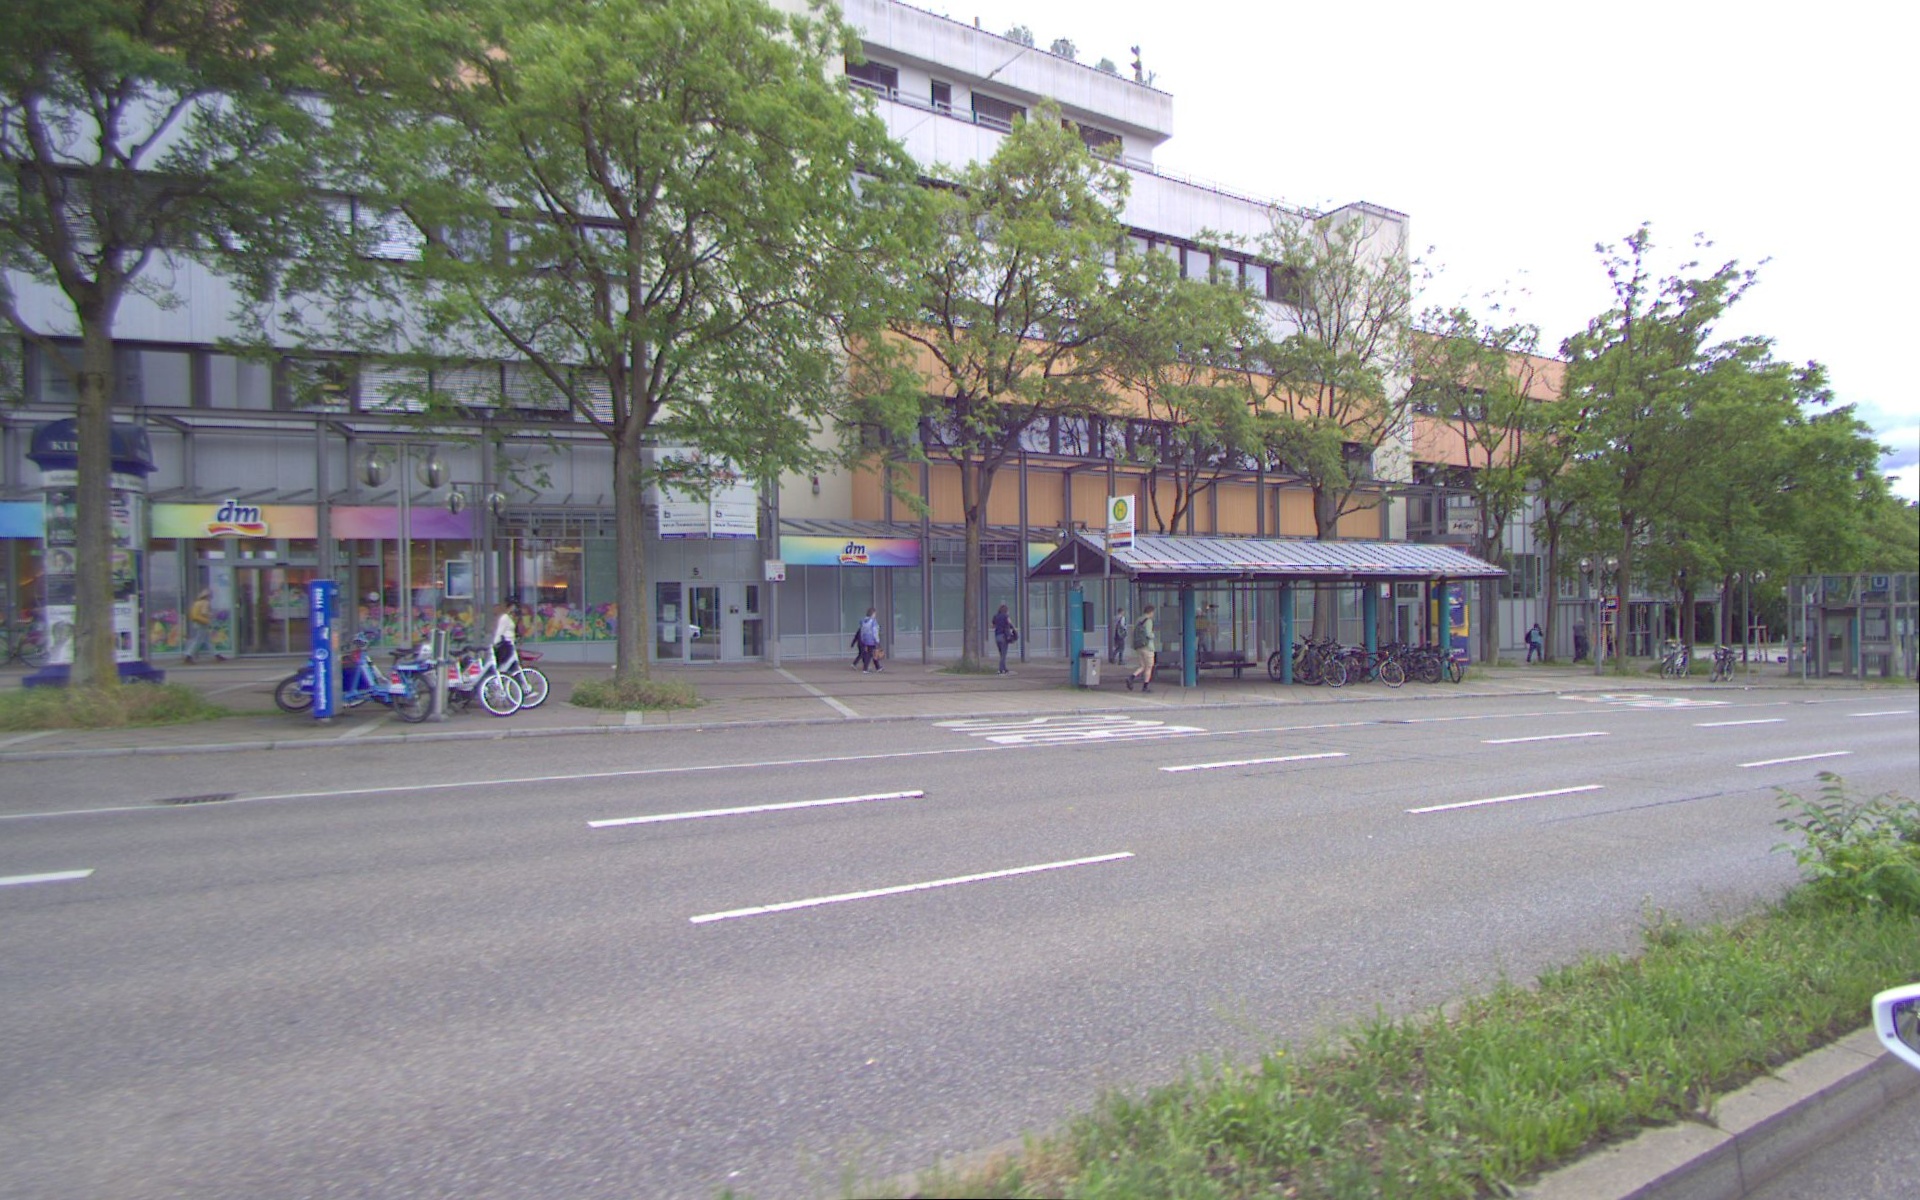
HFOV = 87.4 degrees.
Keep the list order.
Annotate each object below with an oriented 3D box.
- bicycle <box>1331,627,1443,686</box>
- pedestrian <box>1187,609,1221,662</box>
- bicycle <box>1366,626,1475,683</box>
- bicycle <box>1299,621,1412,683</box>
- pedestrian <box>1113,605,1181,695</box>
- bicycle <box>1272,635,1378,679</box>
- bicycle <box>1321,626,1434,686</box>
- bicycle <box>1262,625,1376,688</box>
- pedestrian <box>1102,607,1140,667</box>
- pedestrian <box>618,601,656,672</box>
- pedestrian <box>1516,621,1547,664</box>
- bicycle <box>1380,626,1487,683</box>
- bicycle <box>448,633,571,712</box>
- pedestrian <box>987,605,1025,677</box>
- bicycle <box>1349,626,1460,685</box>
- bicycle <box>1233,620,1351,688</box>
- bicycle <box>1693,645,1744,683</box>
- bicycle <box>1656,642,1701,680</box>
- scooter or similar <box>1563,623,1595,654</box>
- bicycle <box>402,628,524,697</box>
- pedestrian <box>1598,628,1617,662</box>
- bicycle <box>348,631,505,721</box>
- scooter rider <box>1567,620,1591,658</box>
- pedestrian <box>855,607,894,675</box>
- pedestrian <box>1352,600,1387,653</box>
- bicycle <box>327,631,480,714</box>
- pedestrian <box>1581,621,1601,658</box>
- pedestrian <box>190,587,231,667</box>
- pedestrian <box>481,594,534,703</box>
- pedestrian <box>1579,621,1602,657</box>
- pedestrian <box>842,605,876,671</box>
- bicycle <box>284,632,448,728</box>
[{"bbox_3d":[11.594,1.494,27.391,0.797,1.526,2.882,1,-1,-32],"label":"bicycle"},{"bbox_3d":[8.273,1.196,34.090,0.782,1.739,0.765,1,1,-34],"label":"pedestrian"},{"bbox_3d":[12.947,1.512,28.382,0.693,1.526,2.882,1,-1,-32],"label":"bicycle"},{"bbox_3d":[10.306,1.324,26.307,0.802,1.526,2.884,1,-1,-31],"label":"bicycle"},{"bbox_3d":[3.968,1.053,21.305,1.199,1.847,0.701,2,0,-29],"label":"pedestrian"},{"bbox_3d":[10.085,1.559,27.910,0.797,1.127,2.882,1,-2,-32],"label":"bicycle"},{"bbox_3d":[11.273,1.480,27.256,0.797,1.526,2.882,1,-1,-32],"label":"bicycle"},{"bbox_3d":[9.278,1.421,26.121,0.882,1.526,2.882,1,-1,-32],"label":"bicycle"},{"bbox_3d":[4.812,1.094,30.101,0.781,1.739,0.765,1,1,-34],"label":"pedestrian"},{"bbox_3d":[-7.596,0.853,23.643,0.610,1.621,0.634,1,1,6],"label":"pedestrian"},{"bbox_3d":[24.008,1.779,42.190,0.878,1.739,0.765,1,1,-34],"label":"pedestrian"},{"bbox_3d":[13.455,1.518,28.666,0.592,1.526,2.882,1,-1,-32],"label":"bicycle"},{"bbox_3d":[-6.915,1.104,15.448,1.655,1.176,0.605,0,-1,6],"label":"bicycle"},{"bbox_3d":[1.137,1.001,24.797,0.772,1.739,0.775,1,1,-8],"label":"pedestrian"},{"bbox_3d":[12.306,1.501,27.905,0.770,1.526,2.882,1,-1,-32],"label":"bicycle"},{"bbox_3d":[8.401,1.328,25.574,0.962,1.527,2.882,1,0,-33],"label":"bicycle"},{"bbox_3d":[23.768,1.989,31.471,1.919,1.098,0.823,1,-2,-39],"label":"bicycle"},{"bbox_3d":[23.181,1.954,32.409,1.940,1.151,0.707,1,-2,-40],"label":"bicycle"},{"bbox_3d":[26.325,1.645,42.696,1.270,1.284,0.479,1,1,-23],"label":"scooter or similar"},{"bbox_3d":[-8.818,1.095,17.833,1.978,1.176,0.674,-1,-1,14],"label":"bicycle"},{"bbox_3d":[30.654,2.133,47.561,0.673,1.610,0.514,1,-1,-33],"label":"pedestrian"},{"bbox_3d":[-7.542,1.060,14.229,1.925,1.177,0.605,1,-1,7],"label":"bicycle"},{"bbox_3d":[26.301,1.644,42.690,0.697,1.566,0.524,1,1,-23],"label":"scooter rider"},{"bbox_3d":[-2.089,0.984,24.503,0.699,1.605,0.663,1,1,-31],"label":"pedestrian"},{"bbox_3d":[16.097,1.051,39.512,0.923,2.040,0.892,1,-2,-31],"label":"pedestrian"},{"bbox_3d":[-8.309,1.057,15.084,1.936,1.176,0.602,0,-1,-22],"label":"bicycle"},{"bbox_3d":[30.270,1.875,48.162,0.673,1.750,0.561,1,-1,-33],"label":"pedestrian"},{"bbox_3d":[-16.516,0.596,22.141,0.661,1.723,0.646,1,-1,-33],"label":"pedestrian"},{"bbox_3d":[-7.540,0.786,16.725,0.699,1.736,0.771,1,1,-31],"label":"pedestrian"},{"bbox_3d":[28.448,1.742,45.311,0.817,1.607,0.630,1,-2,-35],"label":"pedestrian"},{"bbox_3d":[-2.543,0.942,25.271,0.615,1.621,0.630,1,1,-28],"label":"pedestrian"},{"bbox_3d":[-7.939,1.048,13.442,1.925,1.177,0.605,1,1,8],"label":"bicycle"}]
